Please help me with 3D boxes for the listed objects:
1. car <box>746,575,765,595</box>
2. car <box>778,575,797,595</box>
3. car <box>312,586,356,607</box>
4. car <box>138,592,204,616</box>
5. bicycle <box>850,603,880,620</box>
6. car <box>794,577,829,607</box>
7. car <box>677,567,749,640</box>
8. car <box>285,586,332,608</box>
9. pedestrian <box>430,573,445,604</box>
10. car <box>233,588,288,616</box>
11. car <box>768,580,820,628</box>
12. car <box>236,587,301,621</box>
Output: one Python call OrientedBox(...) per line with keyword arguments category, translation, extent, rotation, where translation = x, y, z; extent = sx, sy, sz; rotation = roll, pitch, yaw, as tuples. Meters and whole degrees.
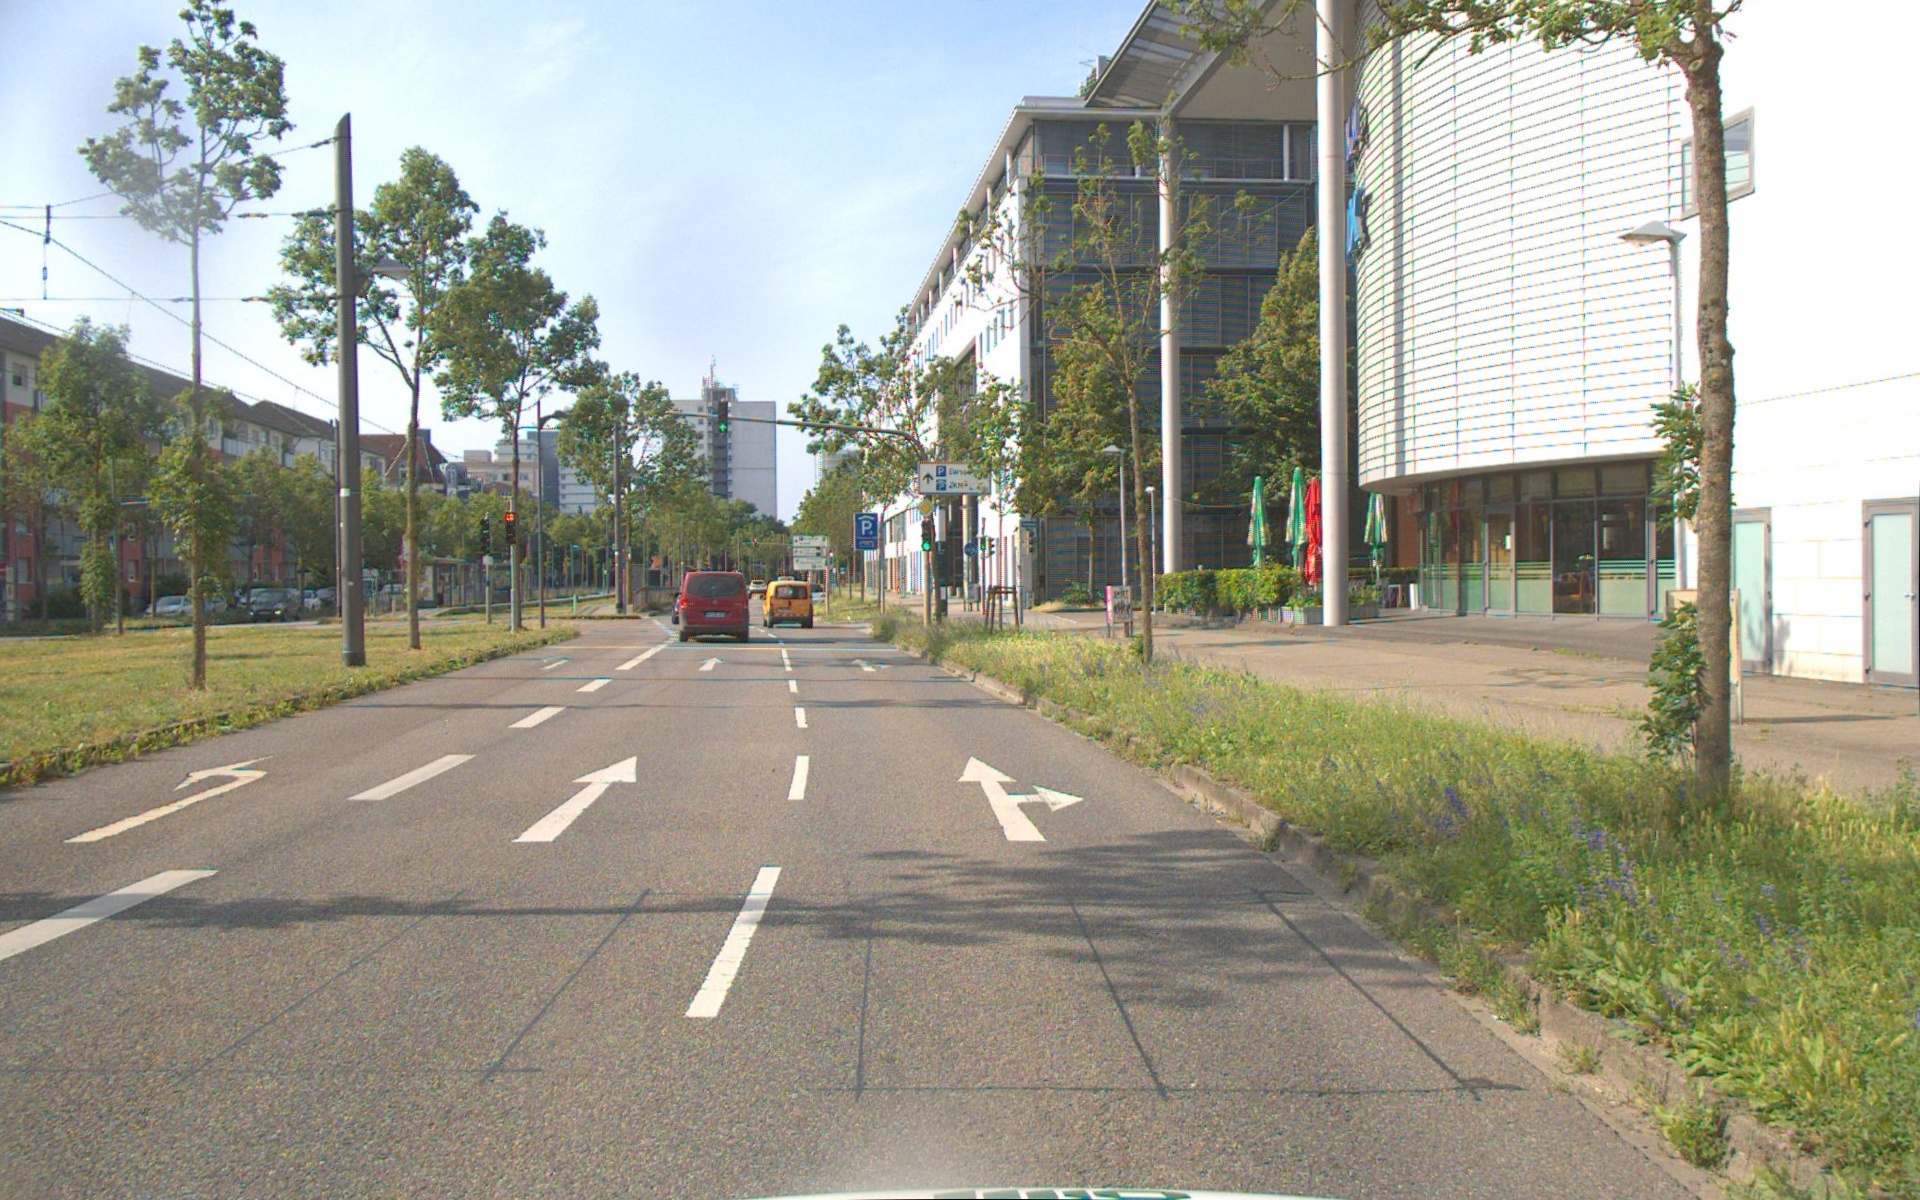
OrientedBox(category="car", translation=(-21.716, -1.561, 175.385), extent=(1.956, 2.049, 3.993), rotation=(-1, 1, -8))
OrientedBox(category="car", translation=(-18.454, -1.609, 176.759), extent=(1.955, 2.049, 3.994), rotation=(1, 0, -7))
OrientedBox(category="car", translation=(-43.716, -0.232, 115.612), extent=(1.943, 1.384, 4.062), rotation=(1, 0, -8))
OrientedBox(category="car", translation=(-40.396, 0.194, 84.751), extent=(1.799, 1.168, 4.158), rotation=(1, 0, -8))
OrientedBox(category="bicycle", translation=(-4.226, 0.508, 73.681), extent=(1.245, 0.643, 0.521), rotation=(-7, 0, 0))
OrientedBox(category="car", translation=(-7.861, -0.451, 87.334), extent=(1.688, 1.545, 3.775), rotation=(-1, 1, -8))
OrientedBox(category="car", translation=(-6.718, 0.075, 45.174), extent=(1.839, 1.886, 3.993), rotation=(0, 1, -8))
OrientedBox(category="car", translation=(-43.418, -0.211, 110.283), extent=(1.943, 1.384, 4.062), rotation=(1, 0, -8))
OrientedBox(category="pedestrian", translation=(-28.597, -0.650, 90.553), extent=(0.659, 1.682, 0.792), rotation=(-1, 0, -11))
OrientedBox(category="car", translation=(-42.447, 0.108, 100.458), extent=(1.943, 1.583, 4.529), rotation=(1, 0, -8))
OrientedBox(category="car", translation=(-6.176, 0.115, 61.478), extent=(1.840, 1.726, 3.968), rotation=(0, 1, -6))
OrientedBox(category="car", translation=(-37.234, 0.197, 89.194), extent=(1.955, 1.735, 4.707), rotation=(0, 0, -6))
